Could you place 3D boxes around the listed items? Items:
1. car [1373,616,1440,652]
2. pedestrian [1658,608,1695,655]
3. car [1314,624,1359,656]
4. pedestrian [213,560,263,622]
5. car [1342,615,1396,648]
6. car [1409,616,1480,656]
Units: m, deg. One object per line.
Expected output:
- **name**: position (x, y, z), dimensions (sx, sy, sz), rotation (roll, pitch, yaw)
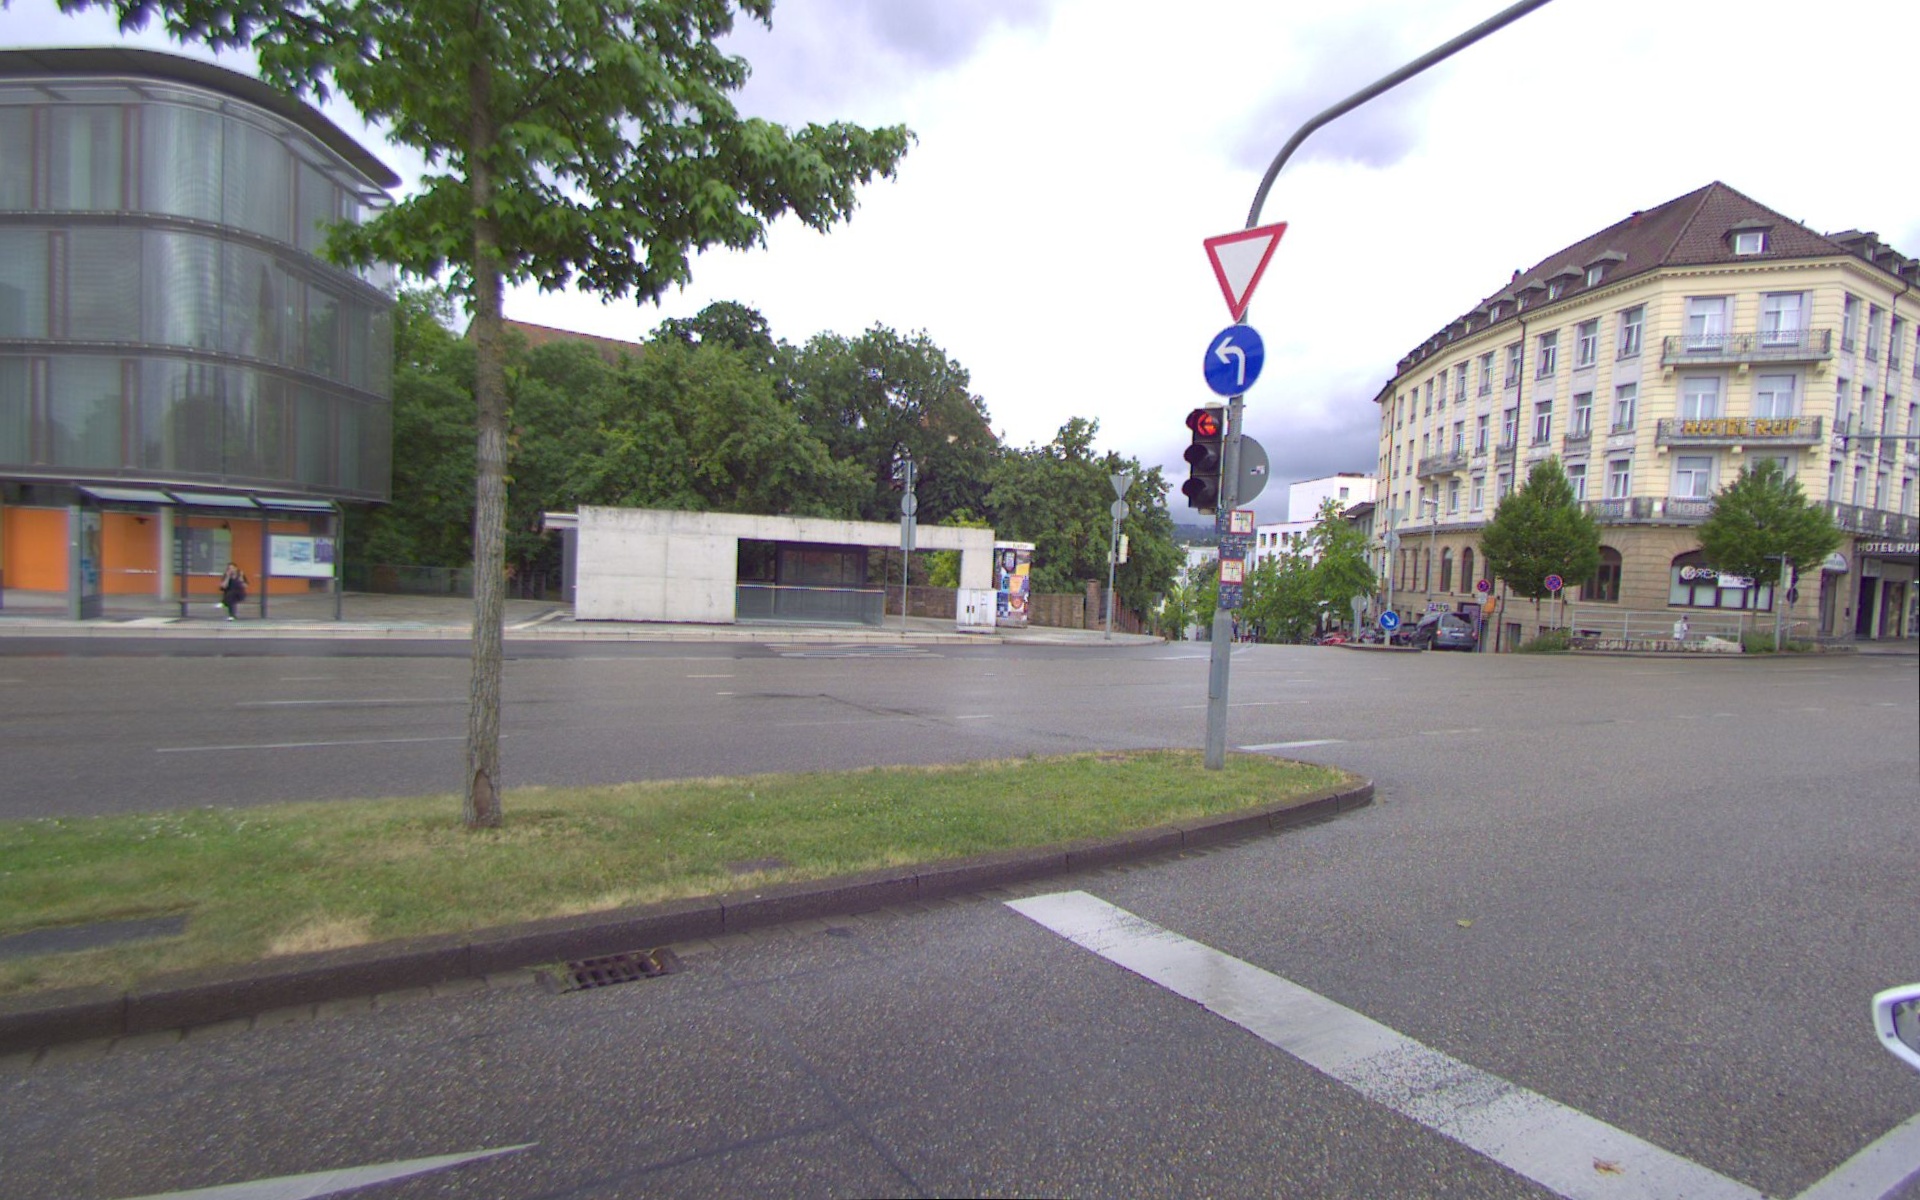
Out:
- **car**: position (22.909, 1.718, 51.706), dimensions (1.959, 1.662, 4.002), rotation (2, 0, 6)
- **pedestrian**: position (30.258, 1.330, 42.429), dimensions (1.010, 1.903, 0.859), rotation (1, 1, -30)
- **car**: position (23.588, 2.478, 63.059), dimensions (1.741, 1.836, 3.624), rotation (2, 1, 7)
- **pedestrian**: position (-16.082, -0.192, 22.391), dimensions (0.780, 1.341, 0.798), rotation (1, 1, -28)
- **car**: position (23.164, 1.773, 57.005), dimensions (1.757, 1.662, 3.916), rotation (2, 1, 6)
- **car**: position (21.736, 1.577, 45.199), dimensions (1.764, 1.589, 4.002), rotation (2, 1, 9)
